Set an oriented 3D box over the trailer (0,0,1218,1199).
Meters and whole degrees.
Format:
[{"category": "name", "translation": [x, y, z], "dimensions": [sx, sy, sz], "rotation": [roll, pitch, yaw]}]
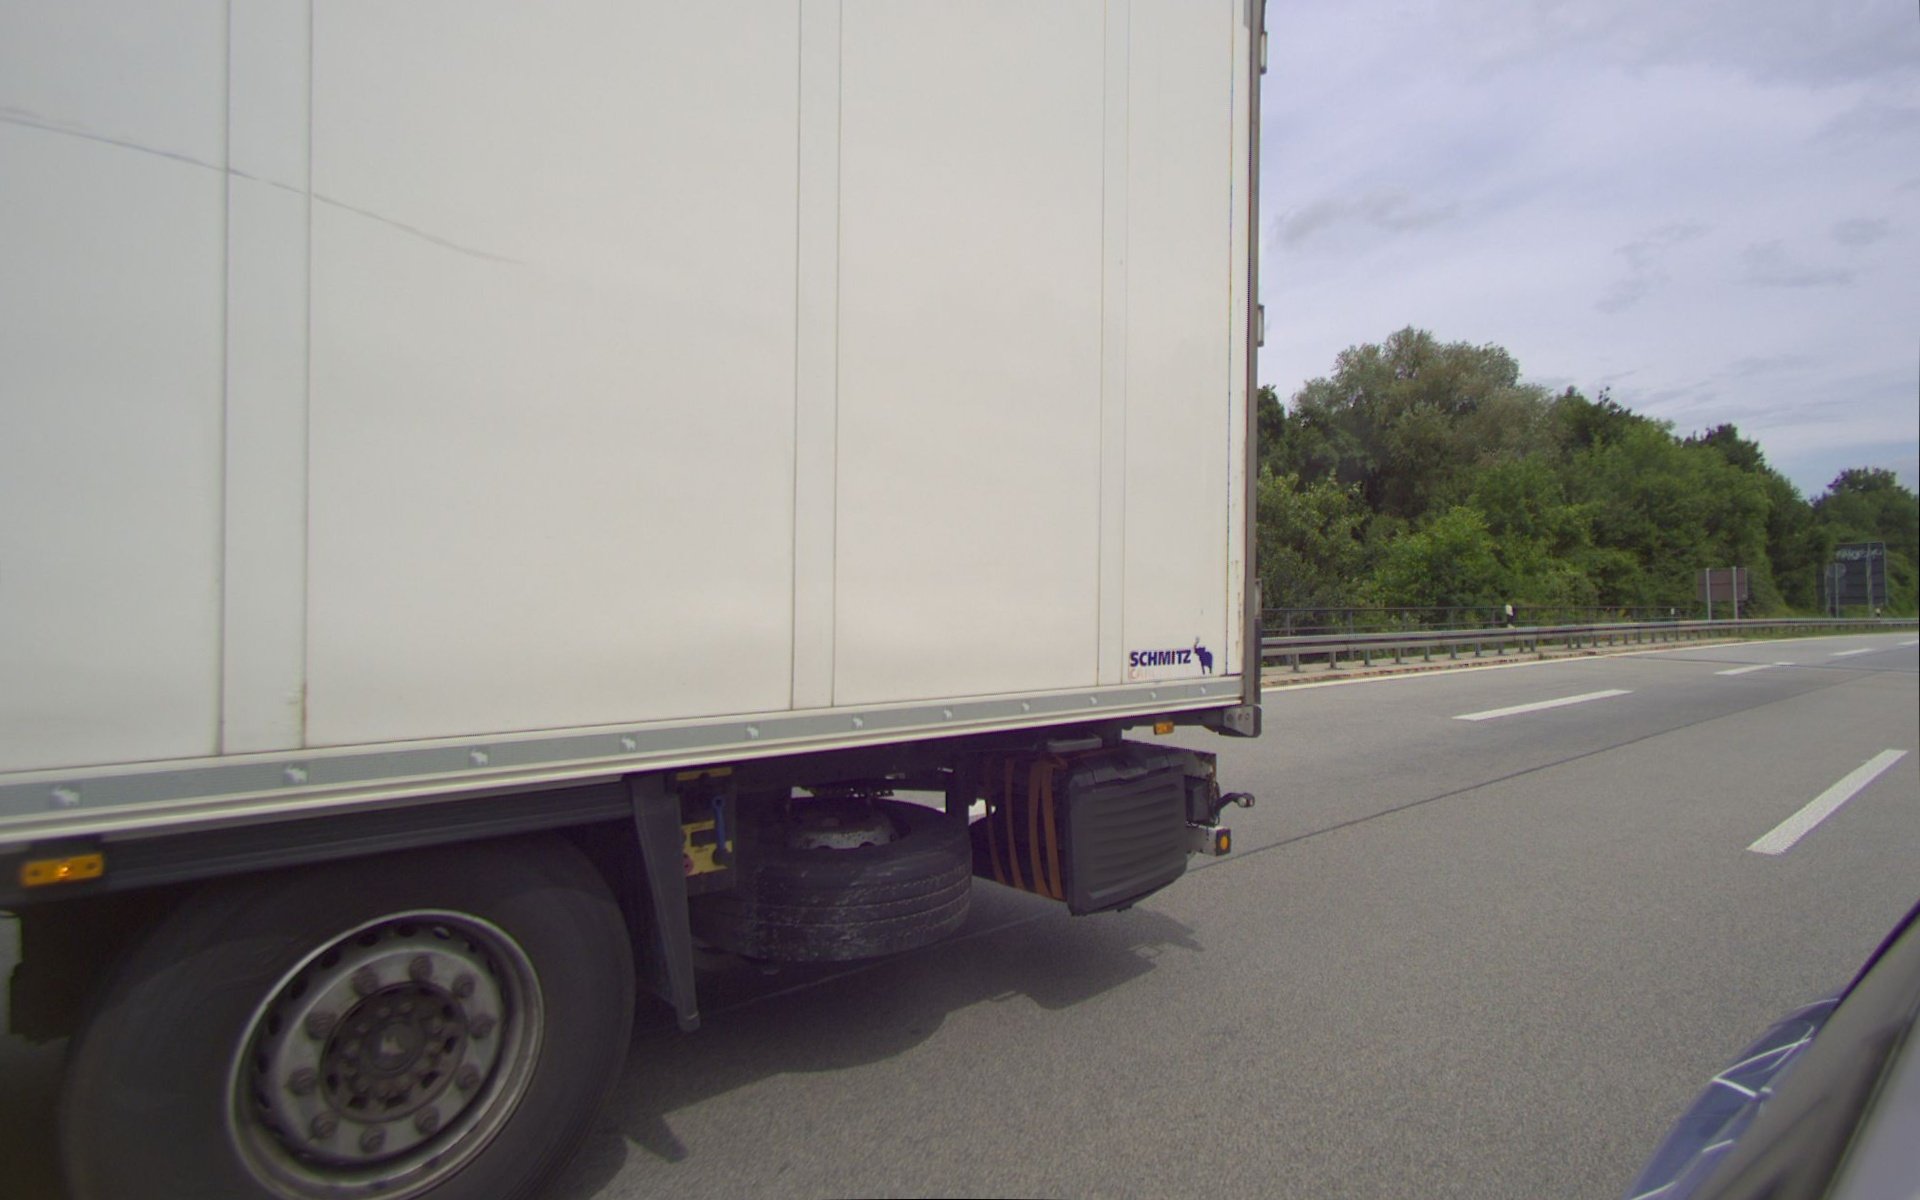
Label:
[{"category": "trailer", "translation": [-5.185, -0.577, 0.349], "dimensions": [13.548, 3.940, 3.067], "rotation": [0, 0, -41]}]
